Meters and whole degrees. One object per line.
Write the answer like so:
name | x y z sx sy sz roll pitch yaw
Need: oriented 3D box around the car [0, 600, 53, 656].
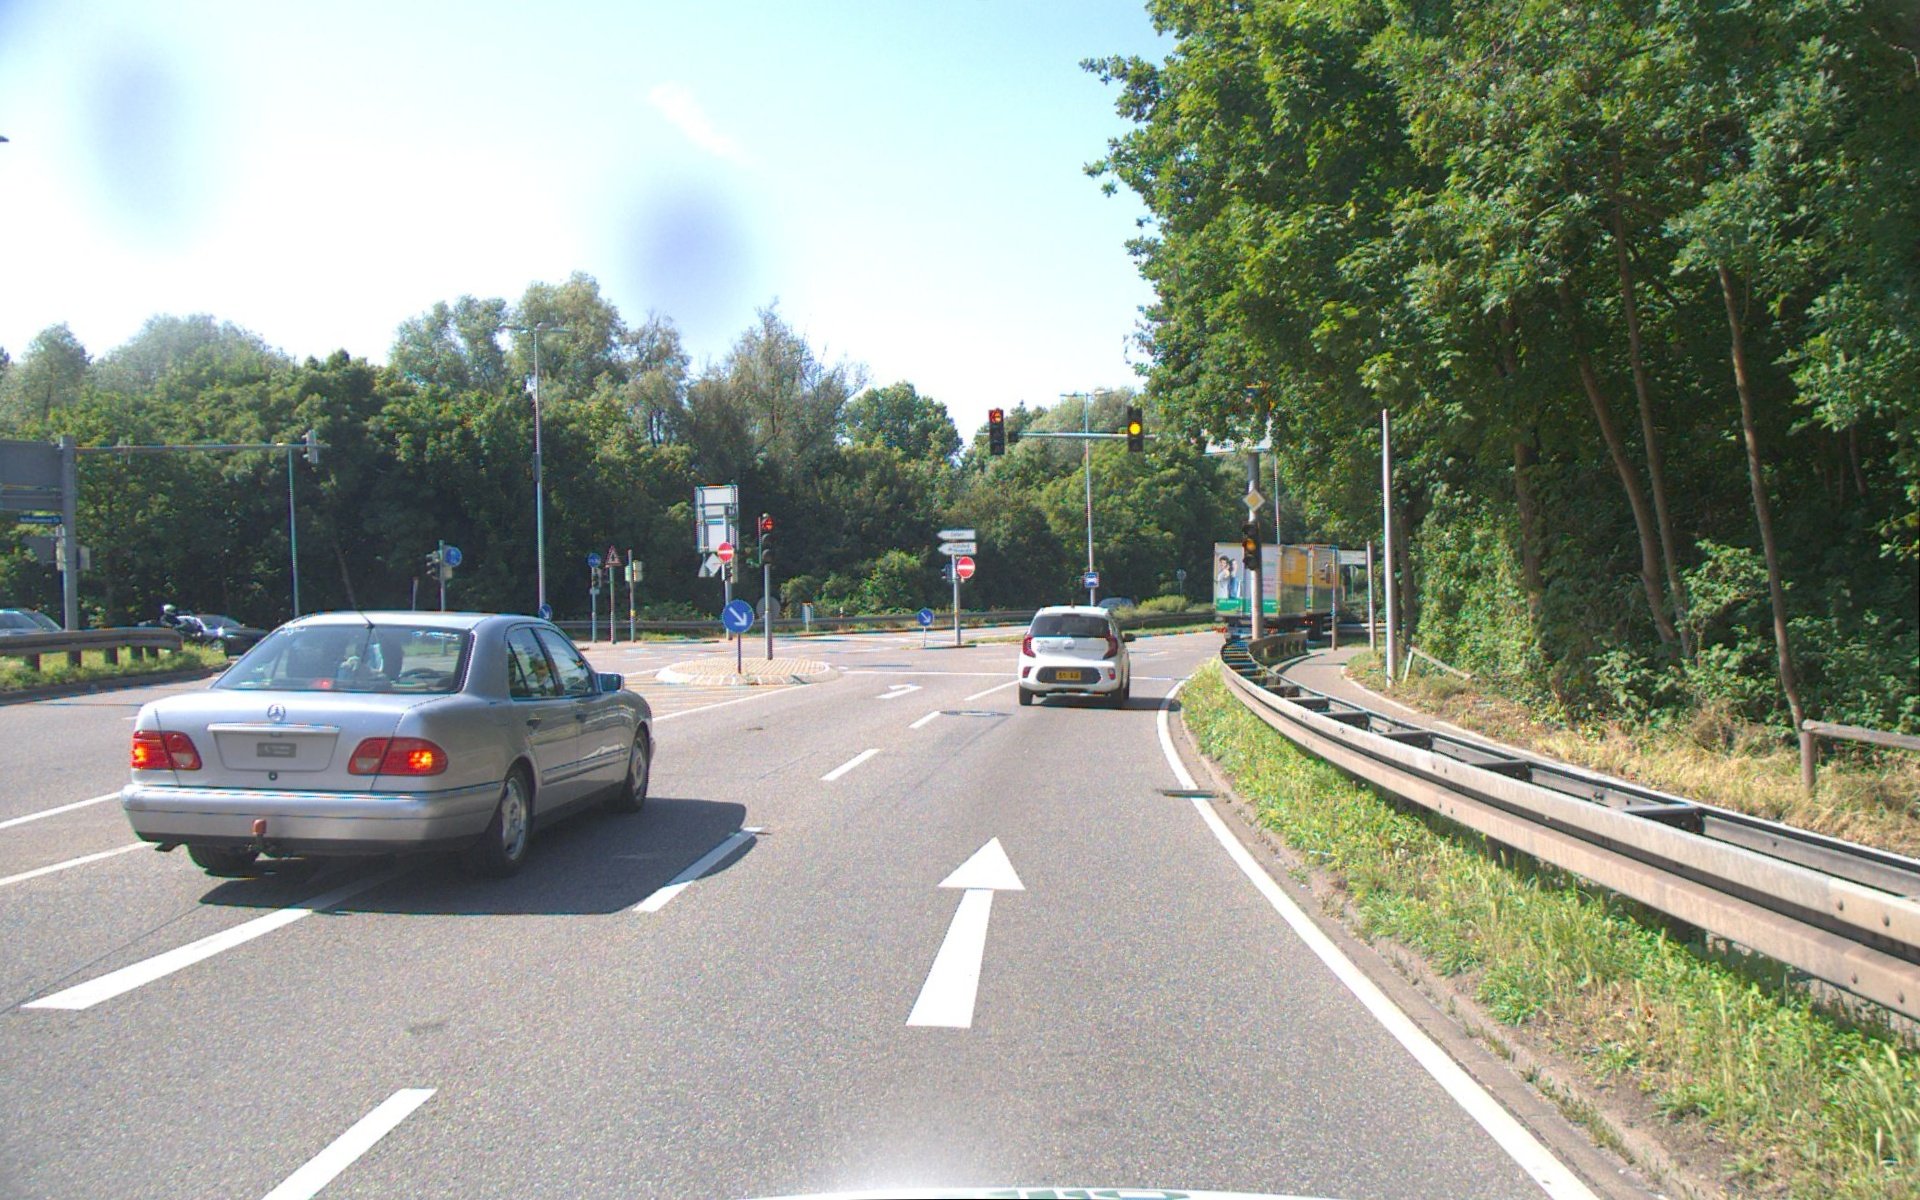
car | -27.607 0.845 46.539 3.908 1.413 1.700 -4 -3 26

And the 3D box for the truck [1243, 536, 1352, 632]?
truck | 14.682 -0.638 71.376 3.193 3.824 8.370 2 0 21

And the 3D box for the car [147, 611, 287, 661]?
car | -23.788 1.162 52.947 3.907 1.243 1.953 -6 -3 24

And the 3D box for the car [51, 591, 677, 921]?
car | -3.188 0.716 10.121 1.898 1.512 4.901 0 0 2

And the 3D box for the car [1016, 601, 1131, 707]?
car | 1.871 0.808 26.414 1.665 1.520 4.002 1 0 6

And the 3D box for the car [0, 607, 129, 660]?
car | -27.821 1.062 51.140 3.908 1.413 1.766 -4 -3 26

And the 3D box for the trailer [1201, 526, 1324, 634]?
trailer | 11.787 -0.719 63.842 3.158 3.824 7.824 2 0 21

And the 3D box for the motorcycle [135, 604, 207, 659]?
motorcycle | -23.941 0.969 50.171 1.937 1.556 0.899 -4 -3 23

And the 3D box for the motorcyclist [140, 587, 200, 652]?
motorcyclist | -23.949 0.596 50.172 1.430 1.903 0.892 -3 -2 23
